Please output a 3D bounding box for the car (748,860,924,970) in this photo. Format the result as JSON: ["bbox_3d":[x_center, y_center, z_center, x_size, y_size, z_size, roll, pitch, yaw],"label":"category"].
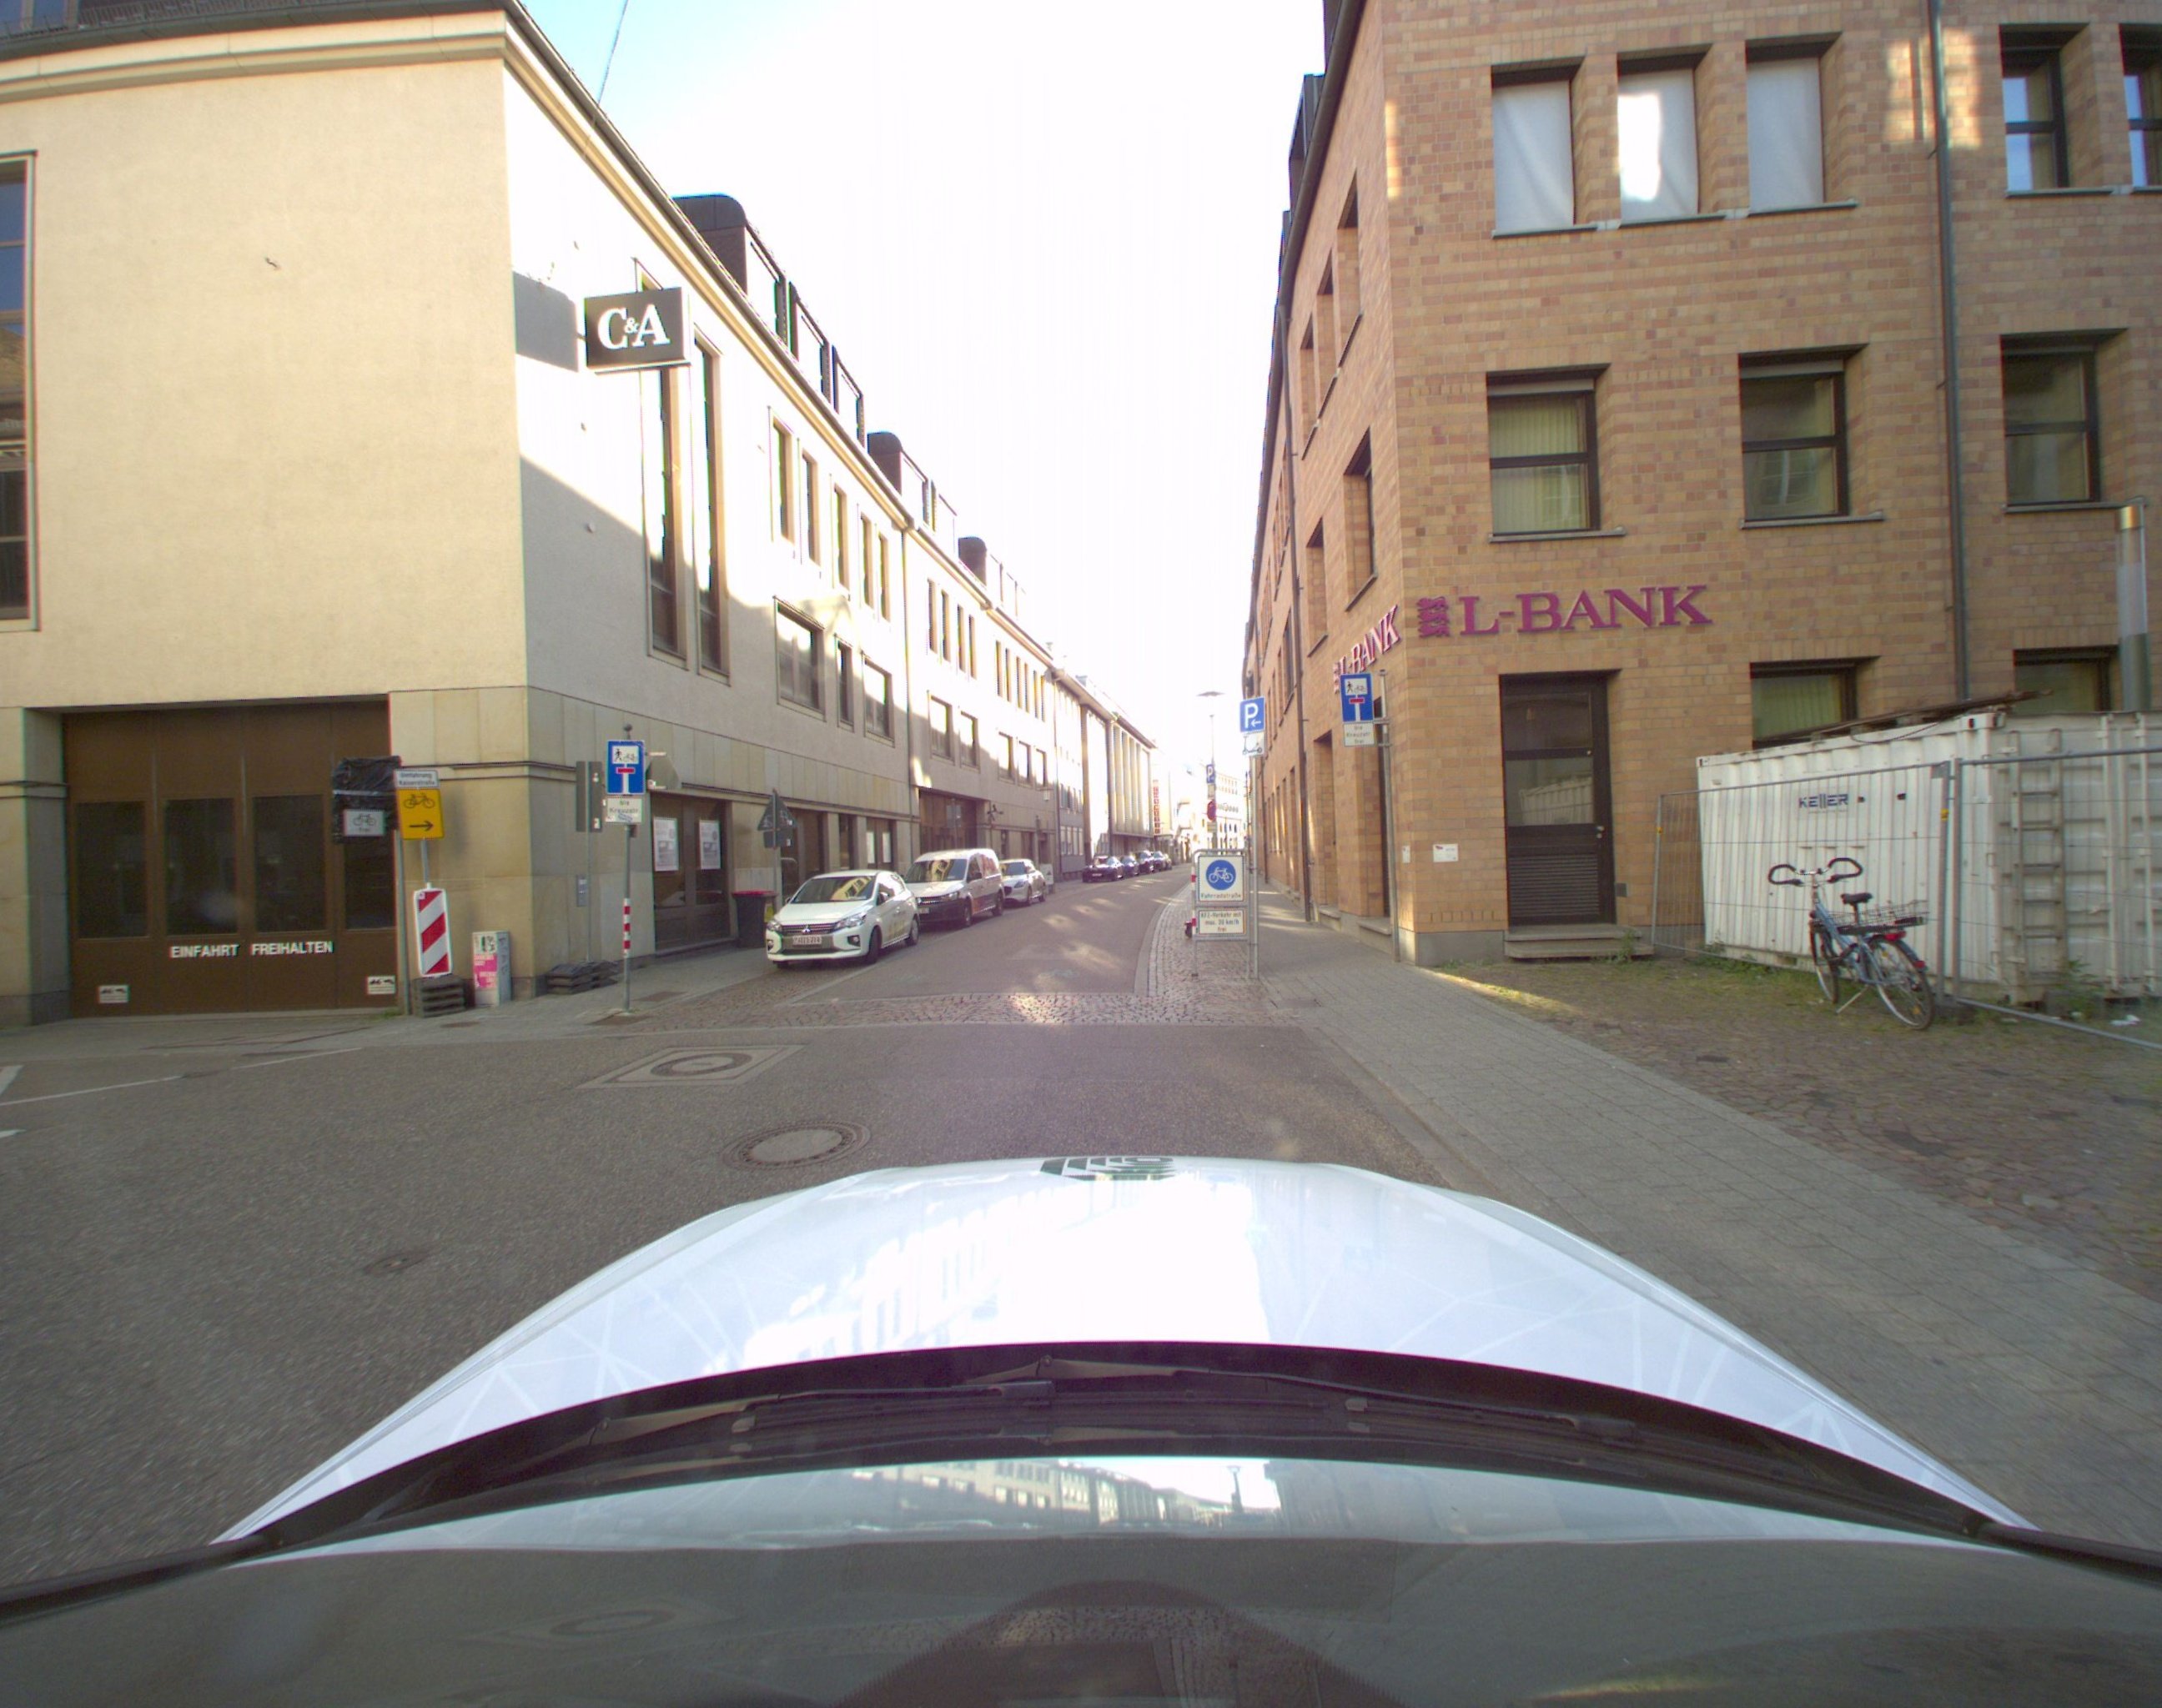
[{"bbox_3d":[-4.032,0.934,14.057,1.664,1.507,3.796,-3,0,2],"label":"car"}]

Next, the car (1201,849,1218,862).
[{"bbox_3d":[15.382,0.183,97.435,1.677,1.370,3.631,-3,0,14],"label":"car"}]

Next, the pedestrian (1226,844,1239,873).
[{"bbox_3d":[9.161,0.286,49.336,0.662,1.730,0.840,0,-1,1],"label":"pedestrian"}]

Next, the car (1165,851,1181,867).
[{"bbox_3d":[9.422,0.473,83.364,1.330,1.494,3.358,-2,0,12],"label":"car"}]

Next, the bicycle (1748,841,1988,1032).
[{"bbox_3d":[6.110,0.570,6.453,0.546,1.317,1.653,-3,0,13],"label":"bicycle"}]

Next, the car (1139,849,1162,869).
[{"bbox_3d":[5.635,0.388,65.801,1.330,1.494,3.521,-2,0,12],"label":"car"}]

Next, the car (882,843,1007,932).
[{"bbox_3d":[-3.175,0.716,19.910,1.661,1.818,4.561,-4,0,7],"label":"car"}]

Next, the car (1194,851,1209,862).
[{"bbox_3d":[15.969,0.311,107.925,1.677,1.370,3.631,-3,0,14],"label":"car"}]

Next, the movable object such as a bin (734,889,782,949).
[{"bbox_3d":[-6.037,1.205,15.246,0.607,1.060,0.713,0,-1,-1],"label":"movable object such as a bin"}]

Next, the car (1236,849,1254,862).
[{"bbox_3d":[18.206,0.125,90.313,1.677,1.370,3.631,-3,0,14],"label":"car"}]

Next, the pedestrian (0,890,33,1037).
[{"bbox_3d":[-12.974,1.294,9.475,0.693,1.702,0.660,-1,0,-23],"label":"pedestrian"}]

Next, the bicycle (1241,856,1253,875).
[{"bbox_3d":[9.541,0.644,46.807,0.508,0.994,2.654,-2,0,8],"label":"bicycle"}]

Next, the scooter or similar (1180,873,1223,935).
[{"bbox_3d":[2.250,0.926,15.227,0.767,1.136,0.269,0,-1,4],"label":"scooter or similar"}]

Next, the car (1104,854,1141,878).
[{"bbox_3d":[2.747,0.754,52.919,1.713,1.340,4.013,-3,0,12],"label":"car"}]

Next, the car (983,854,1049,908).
[{"bbox_3d":[-2.020,0.820,26.076,1.264,1.507,3.409,-4,0,8],"label":"car"}]

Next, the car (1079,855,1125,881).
[{"bbox_3d":[1.270,0.766,46.559,1.869,1.332,4.114,-2,0,12],"label":"car"}]
